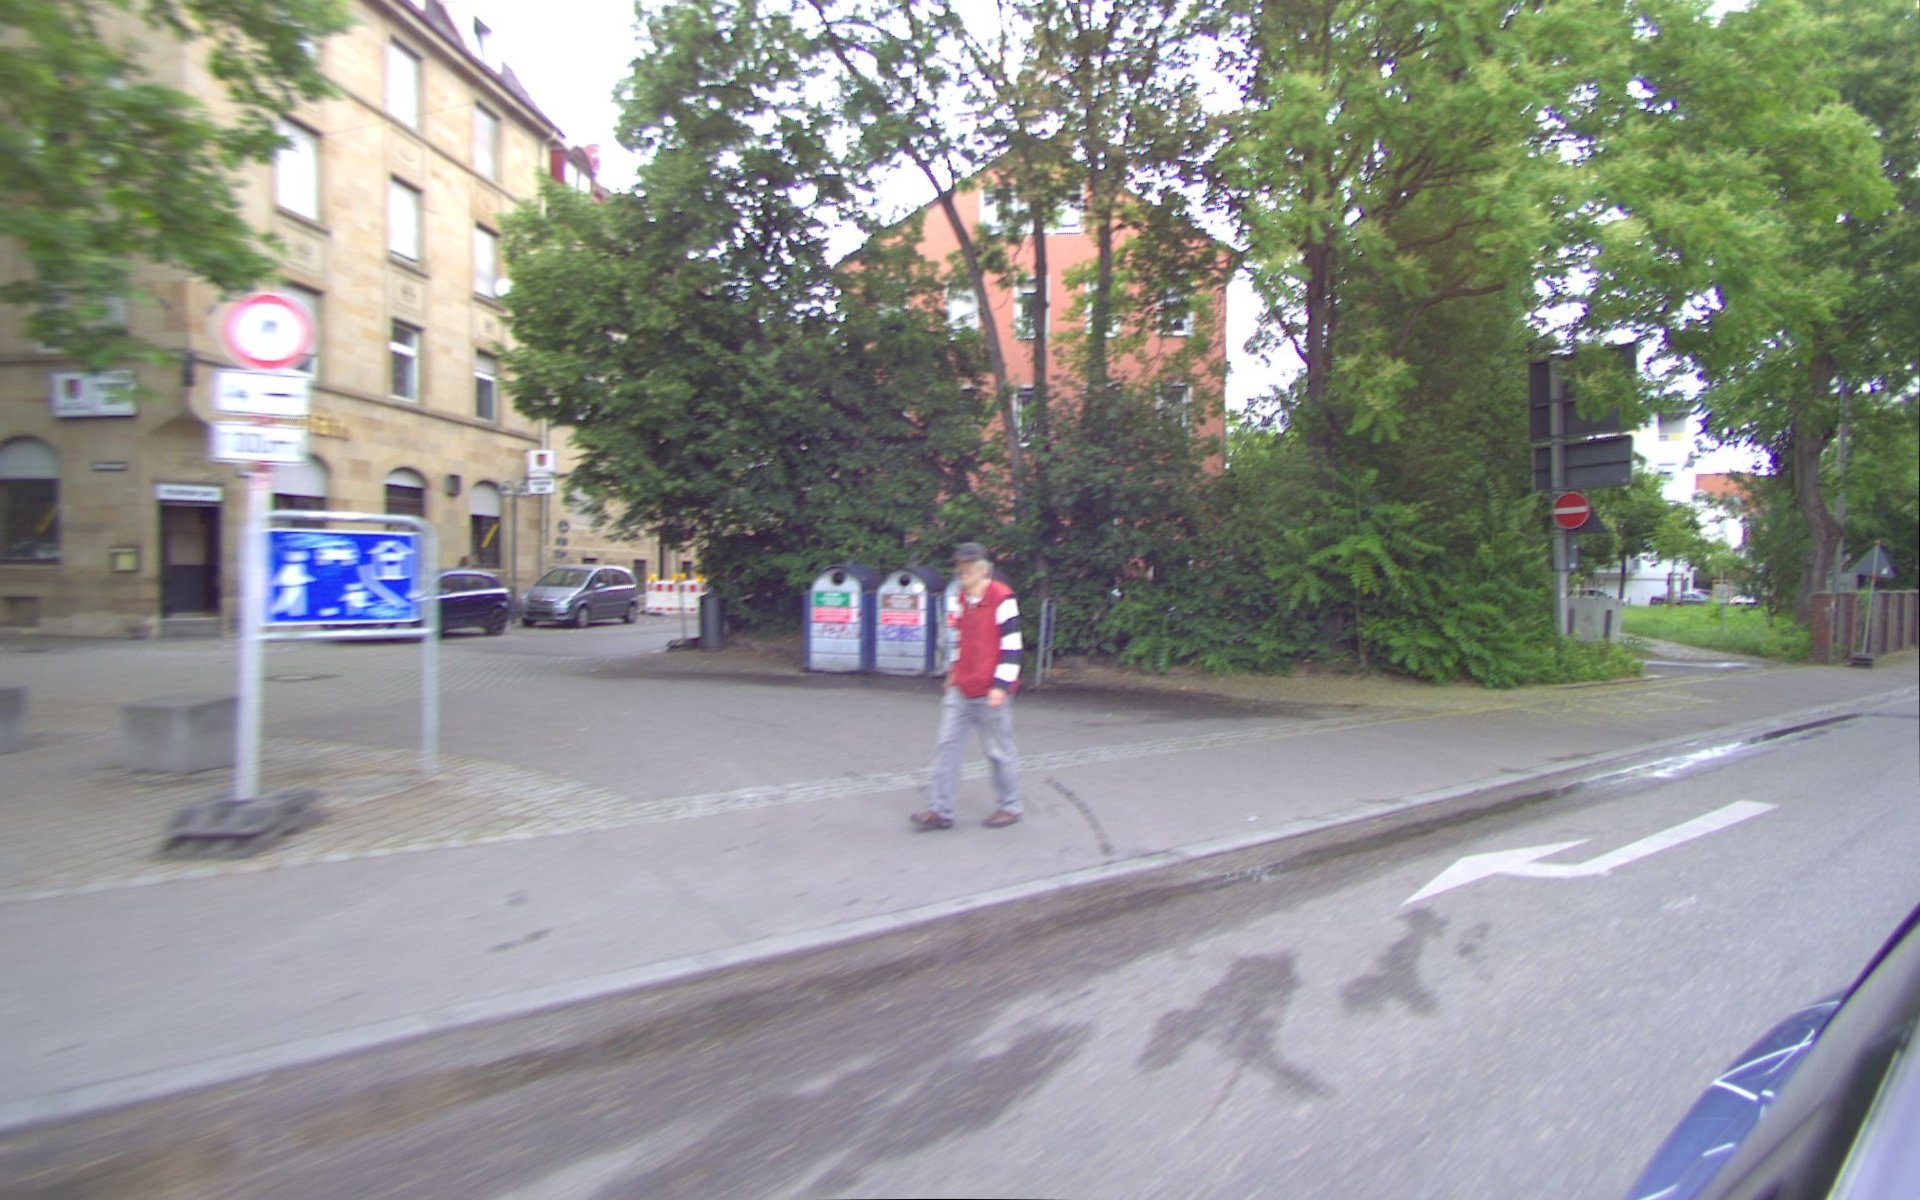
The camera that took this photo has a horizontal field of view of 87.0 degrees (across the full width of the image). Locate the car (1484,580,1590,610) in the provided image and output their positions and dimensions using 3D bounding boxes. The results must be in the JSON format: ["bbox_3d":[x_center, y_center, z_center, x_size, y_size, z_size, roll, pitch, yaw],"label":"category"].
[{"bbox_3d":[35.319,-0.331,62.130,5.510,1.608,1.981,2,4,29],"label":"car"}]

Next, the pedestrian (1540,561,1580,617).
[{"bbox_3d":[22.343,-0.425,37.685,1.128,2.038,1.236,3,3,35],"label":"pedestrian"}]

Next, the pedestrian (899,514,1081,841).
[{"bbox_3d":[0.172,0.420,6.252,0.714,1.853,0.782,1,3,-37],"label":"pedestrian"}]

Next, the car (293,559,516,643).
[{"bbox_3d":[-11.254,-0.026,20.852,1.706,1.482,4.073,3,2,13],"label":"car"}]

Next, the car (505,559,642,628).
[{"bbox_3d":[-10.044,-0.251,26.610,1.594,1.609,3.992,1,3,9],"label":"car"}]
